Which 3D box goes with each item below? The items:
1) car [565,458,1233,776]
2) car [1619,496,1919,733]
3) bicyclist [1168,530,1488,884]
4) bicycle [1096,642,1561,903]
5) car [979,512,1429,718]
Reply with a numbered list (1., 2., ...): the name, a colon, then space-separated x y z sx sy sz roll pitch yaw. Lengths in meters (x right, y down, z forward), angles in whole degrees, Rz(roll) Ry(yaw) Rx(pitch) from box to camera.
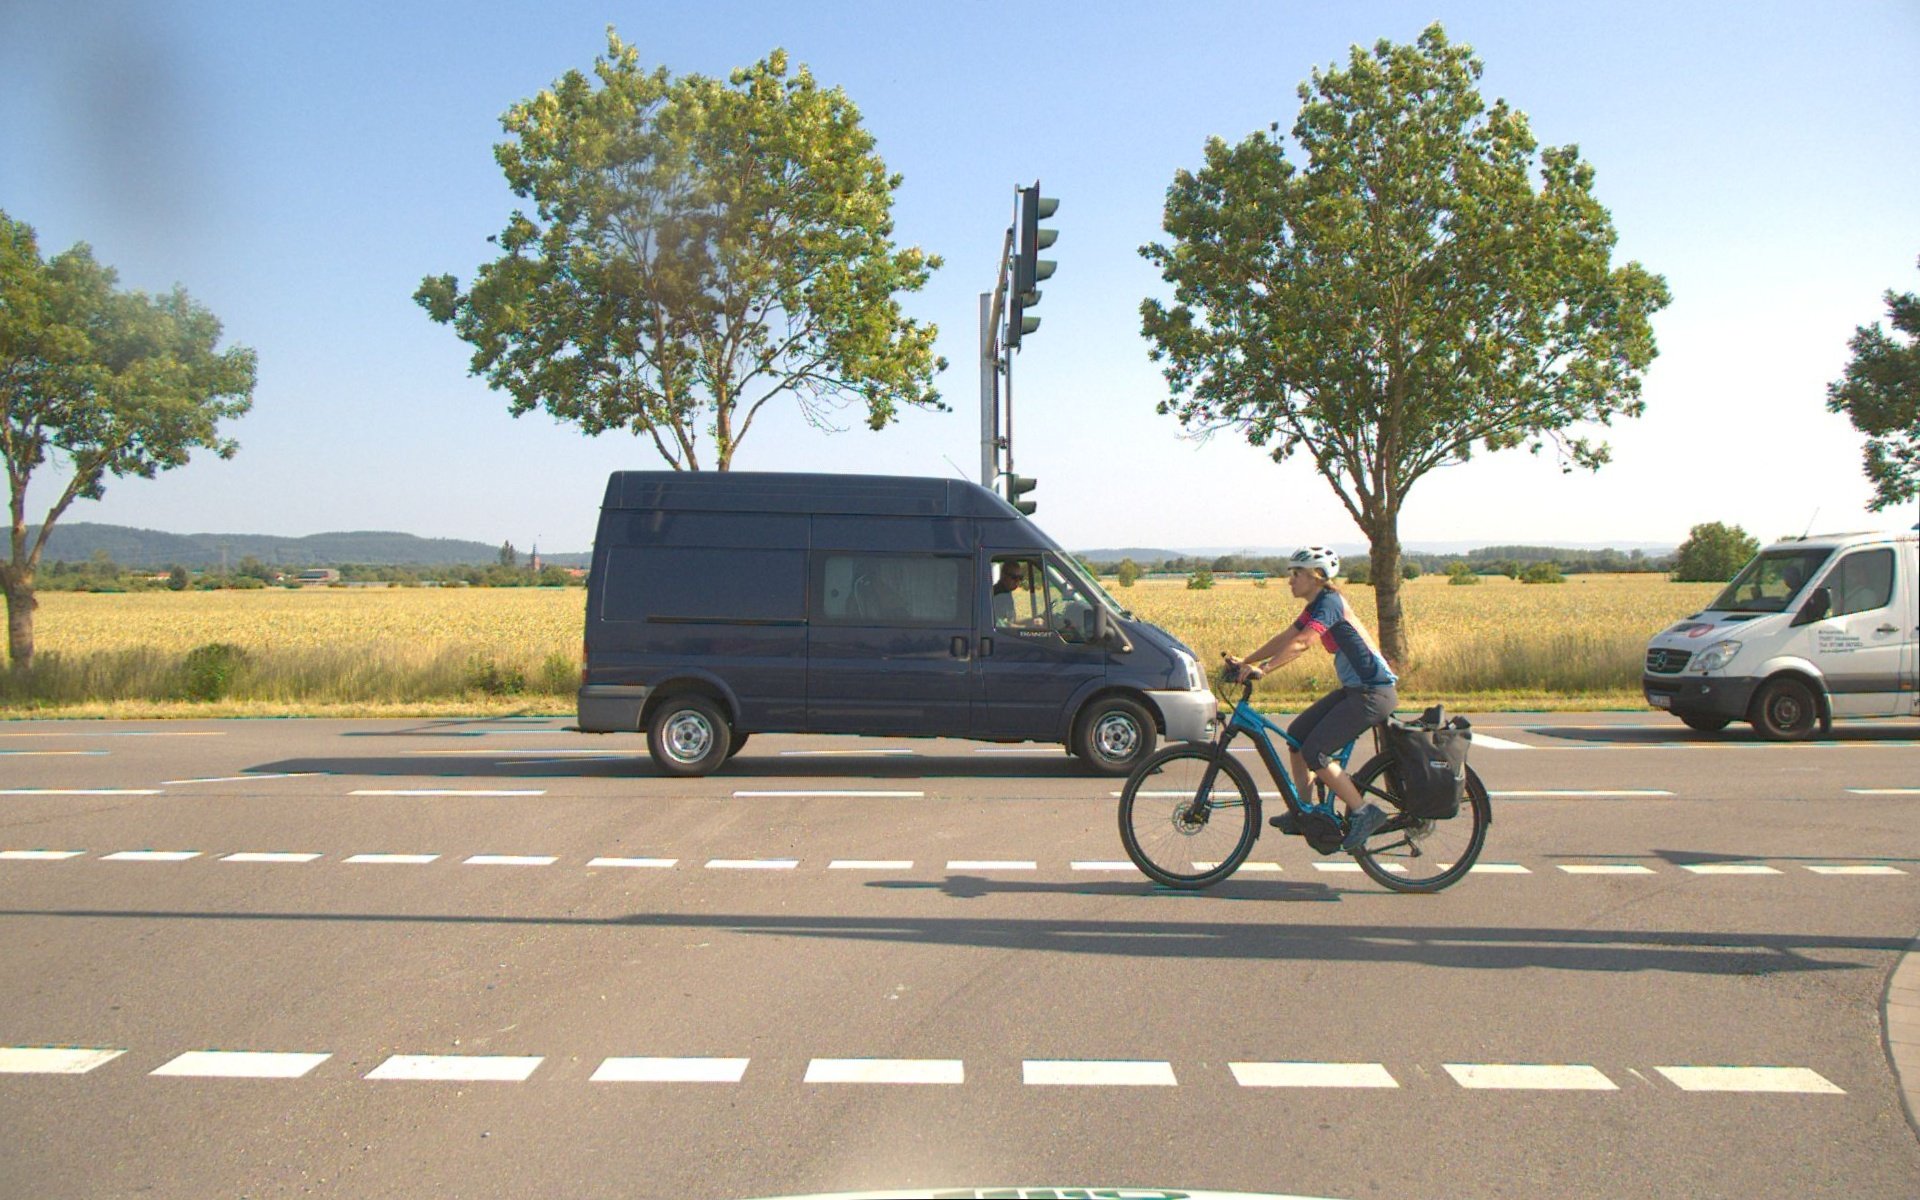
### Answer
1. car: -0.517 0.146 14.959 5.615 2.668 2.033 0 0 -2
2. car: 10.816 0.182 18.880 5.838 2.536 1.999 0 -1 -3
3. bicyclist: 1.784 0.484 8.247 1.254 1.629 1.164 0 1 -6
4. bicycle: 1.799 0.820 8.291 2.114 1.207 0.889 0 -1 -6
5. car: 3.293 0.231 23.073 5.779 2.622 2.389 1 -1 -7
